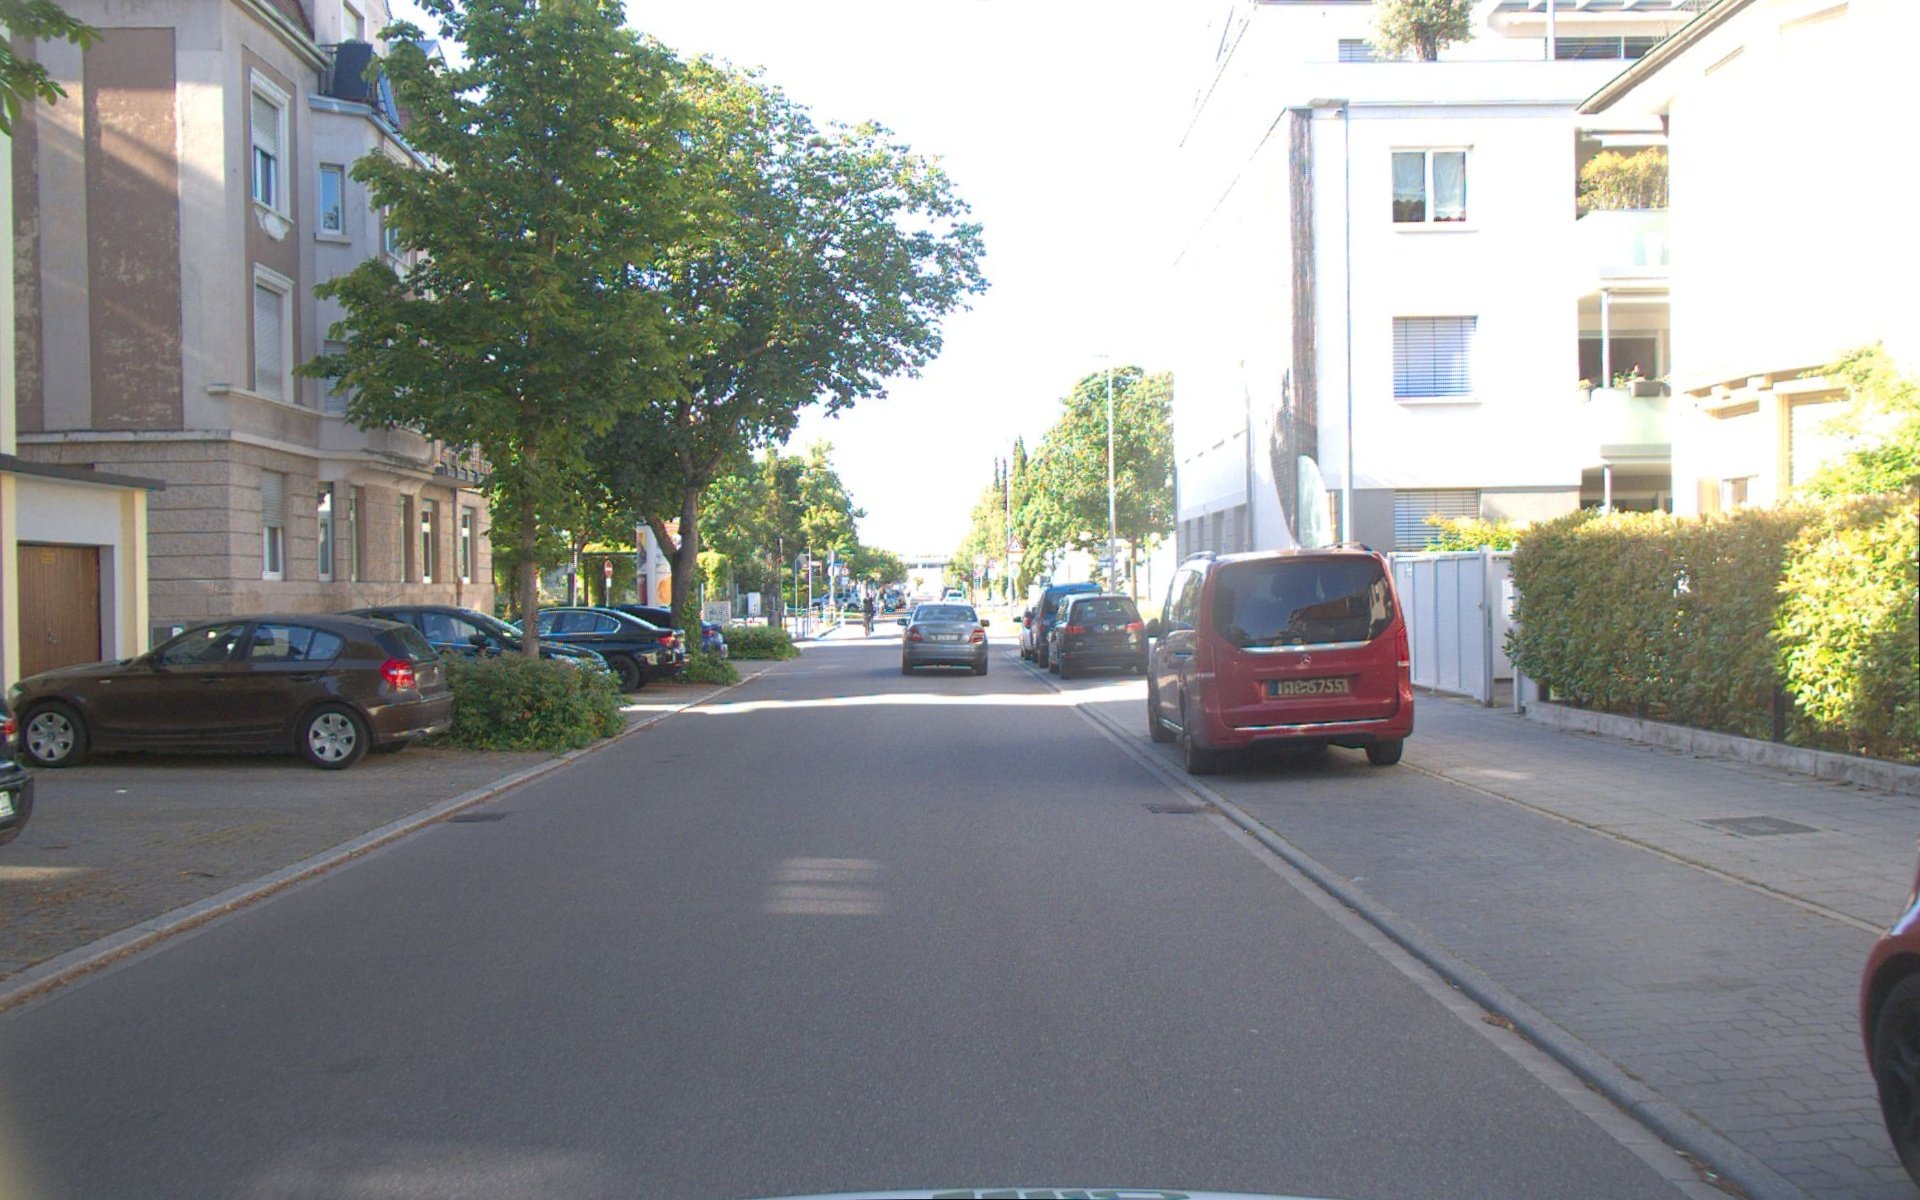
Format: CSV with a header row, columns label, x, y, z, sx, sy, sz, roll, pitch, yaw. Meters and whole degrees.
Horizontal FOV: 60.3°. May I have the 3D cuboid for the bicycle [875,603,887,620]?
label,x,y,z,sx,sy,sz,roll,pitch,yaw
bicycle,-4.565,0.665,95.292,0.577,0.948,1.850,-1,0,0

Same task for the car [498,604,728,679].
label,x,y,z,sx,sy,sz,roll,pitch,yaw
car,-7.105,0.851,34.216,4.384,1.505,1.867,0,-1,-3

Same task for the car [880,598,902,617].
label,x,y,z,sx,sy,sz,roll,pitch,yaw
car,-6.167,0.684,148.074,1.752,1.559,3.995,-2,-2,-5

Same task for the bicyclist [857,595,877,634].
label,x,y,z,sx,sy,sz,roll,pitch,yaw
bicyclist,-3.720,0.578,66.383,0.706,1.564,1.137,-1,0,-1

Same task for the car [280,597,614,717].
label,x,y,z,sx,sy,sz,roll,pitch,yaw
car,-6.974,0.782,22.902,4.094,1.526,1.996,1,-1,-8

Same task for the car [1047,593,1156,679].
label,x,y,z,sx,sy,sz,roll,pitch,yaw
car,2.729,0.660,32.666,1.701,1.558,4.177,-1,0,-1

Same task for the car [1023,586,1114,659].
label,x,y,z,sx,sy,sz,roll,pitch,yaw
car,2.459,0.540,38.399,1.648,1.460,4.264,-5,-1,-1

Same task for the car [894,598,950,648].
label,x,y,z,sx,sy,sz,roll,pitch,yaw
car,-1.209,0.731,52.161,1.672,1.473,4.201,1,-1,-2

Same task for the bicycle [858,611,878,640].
label,x,y,z,sx,sy,sz,roll,pitch,yaw
bicycle,-3.695,1.004,66.410,0.705,1.098,1.890,-1,0,-1

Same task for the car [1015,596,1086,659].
label,x,y,z,sx,sy,sz,roll,pitch,yaw
car,2.308,0.710,42.758,1.532,1.435,3.729,-5,-1,0

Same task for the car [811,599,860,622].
label,x,y,z,sx,sy,sz,roll,pitch,yaw
car,-9.031,0.741,119.440,3.428,1.560,1.642,-1,0,-8

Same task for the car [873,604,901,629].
label,x,y,z,sx,sy,sz,roll,pitch,yaw
car,-5.528,1.234,125.042,1.836,1.758,3.995,-1,0,-5

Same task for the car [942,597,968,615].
label,x,y,z,sx,sy,sz,roll,pitch,yaw
car,-0.402,0.452,127.426,1.689,1.353,3.995,-1,0,-5

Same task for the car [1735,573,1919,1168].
label,x,y,z,sx,sy,sz,roll,pitch,yaw
car,3.213,0.658,3.443,1.560,1.506,3.246,-3,0,-1

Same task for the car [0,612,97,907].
label,x,y,z,sx,sy,sz,roll,pitch,yaw
car,-6.746,0.759,8.185,3.943,1.470,1.798,1,-1,-4

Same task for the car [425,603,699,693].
label,x,y,z,sx,sy,sz,roll,pitch,yaw
car,-6.894,0.836,29.022,4.384,1.505,1.867,0,-1,-3

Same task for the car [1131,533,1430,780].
label,x,y,z,sx,sy,sz,roll,pitch,yaw
car,2.867,0.481,16.021,1.833,1.938,5.197,-2,-1,0

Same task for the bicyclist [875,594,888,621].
label,x,y,z,sx,sy,sz,roll,pitch,yaw
bicyclist,-4.522,0.455,95.331,0.666,1.535,0.655,-1,0,0

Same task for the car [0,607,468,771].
label,x,y,z,sx,sy,sz,roll,pitch,yaw
car,-7.048,0.835,16.247,3.907,1.446,1.770,0,1,-2

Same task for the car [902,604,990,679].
label,x,y,z,sx,sy,sz,roll,pitch,yaw
car,-0.277,0.844,34.478,1.691,1.445,3.960,1,-1,0
